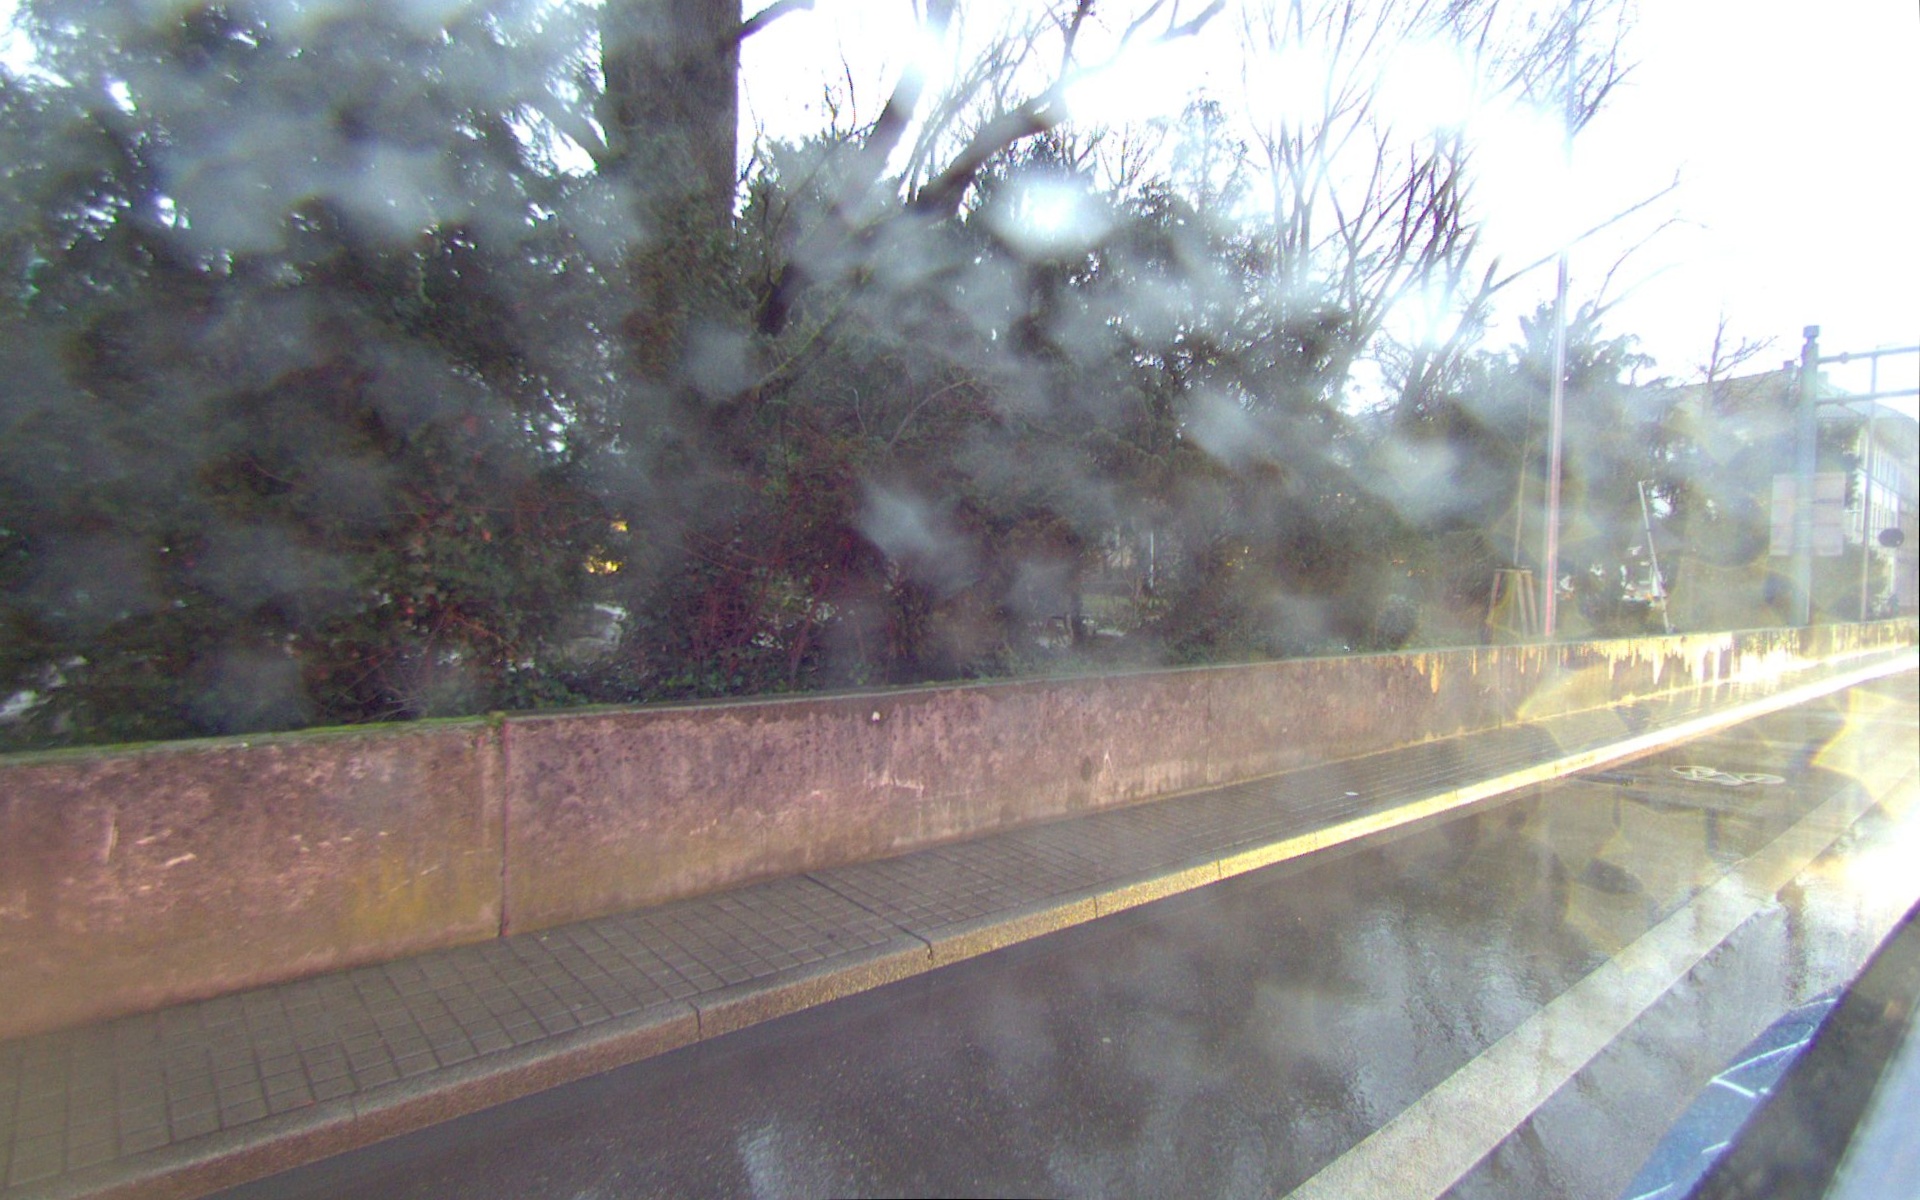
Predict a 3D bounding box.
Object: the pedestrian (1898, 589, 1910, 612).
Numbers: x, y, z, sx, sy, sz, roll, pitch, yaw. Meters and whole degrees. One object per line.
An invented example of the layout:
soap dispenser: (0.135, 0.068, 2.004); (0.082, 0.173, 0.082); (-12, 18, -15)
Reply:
pedestrian: (65.550, 0.043, 70.289); (0.577, 1.529, 0.520); (0, 2, -41)
